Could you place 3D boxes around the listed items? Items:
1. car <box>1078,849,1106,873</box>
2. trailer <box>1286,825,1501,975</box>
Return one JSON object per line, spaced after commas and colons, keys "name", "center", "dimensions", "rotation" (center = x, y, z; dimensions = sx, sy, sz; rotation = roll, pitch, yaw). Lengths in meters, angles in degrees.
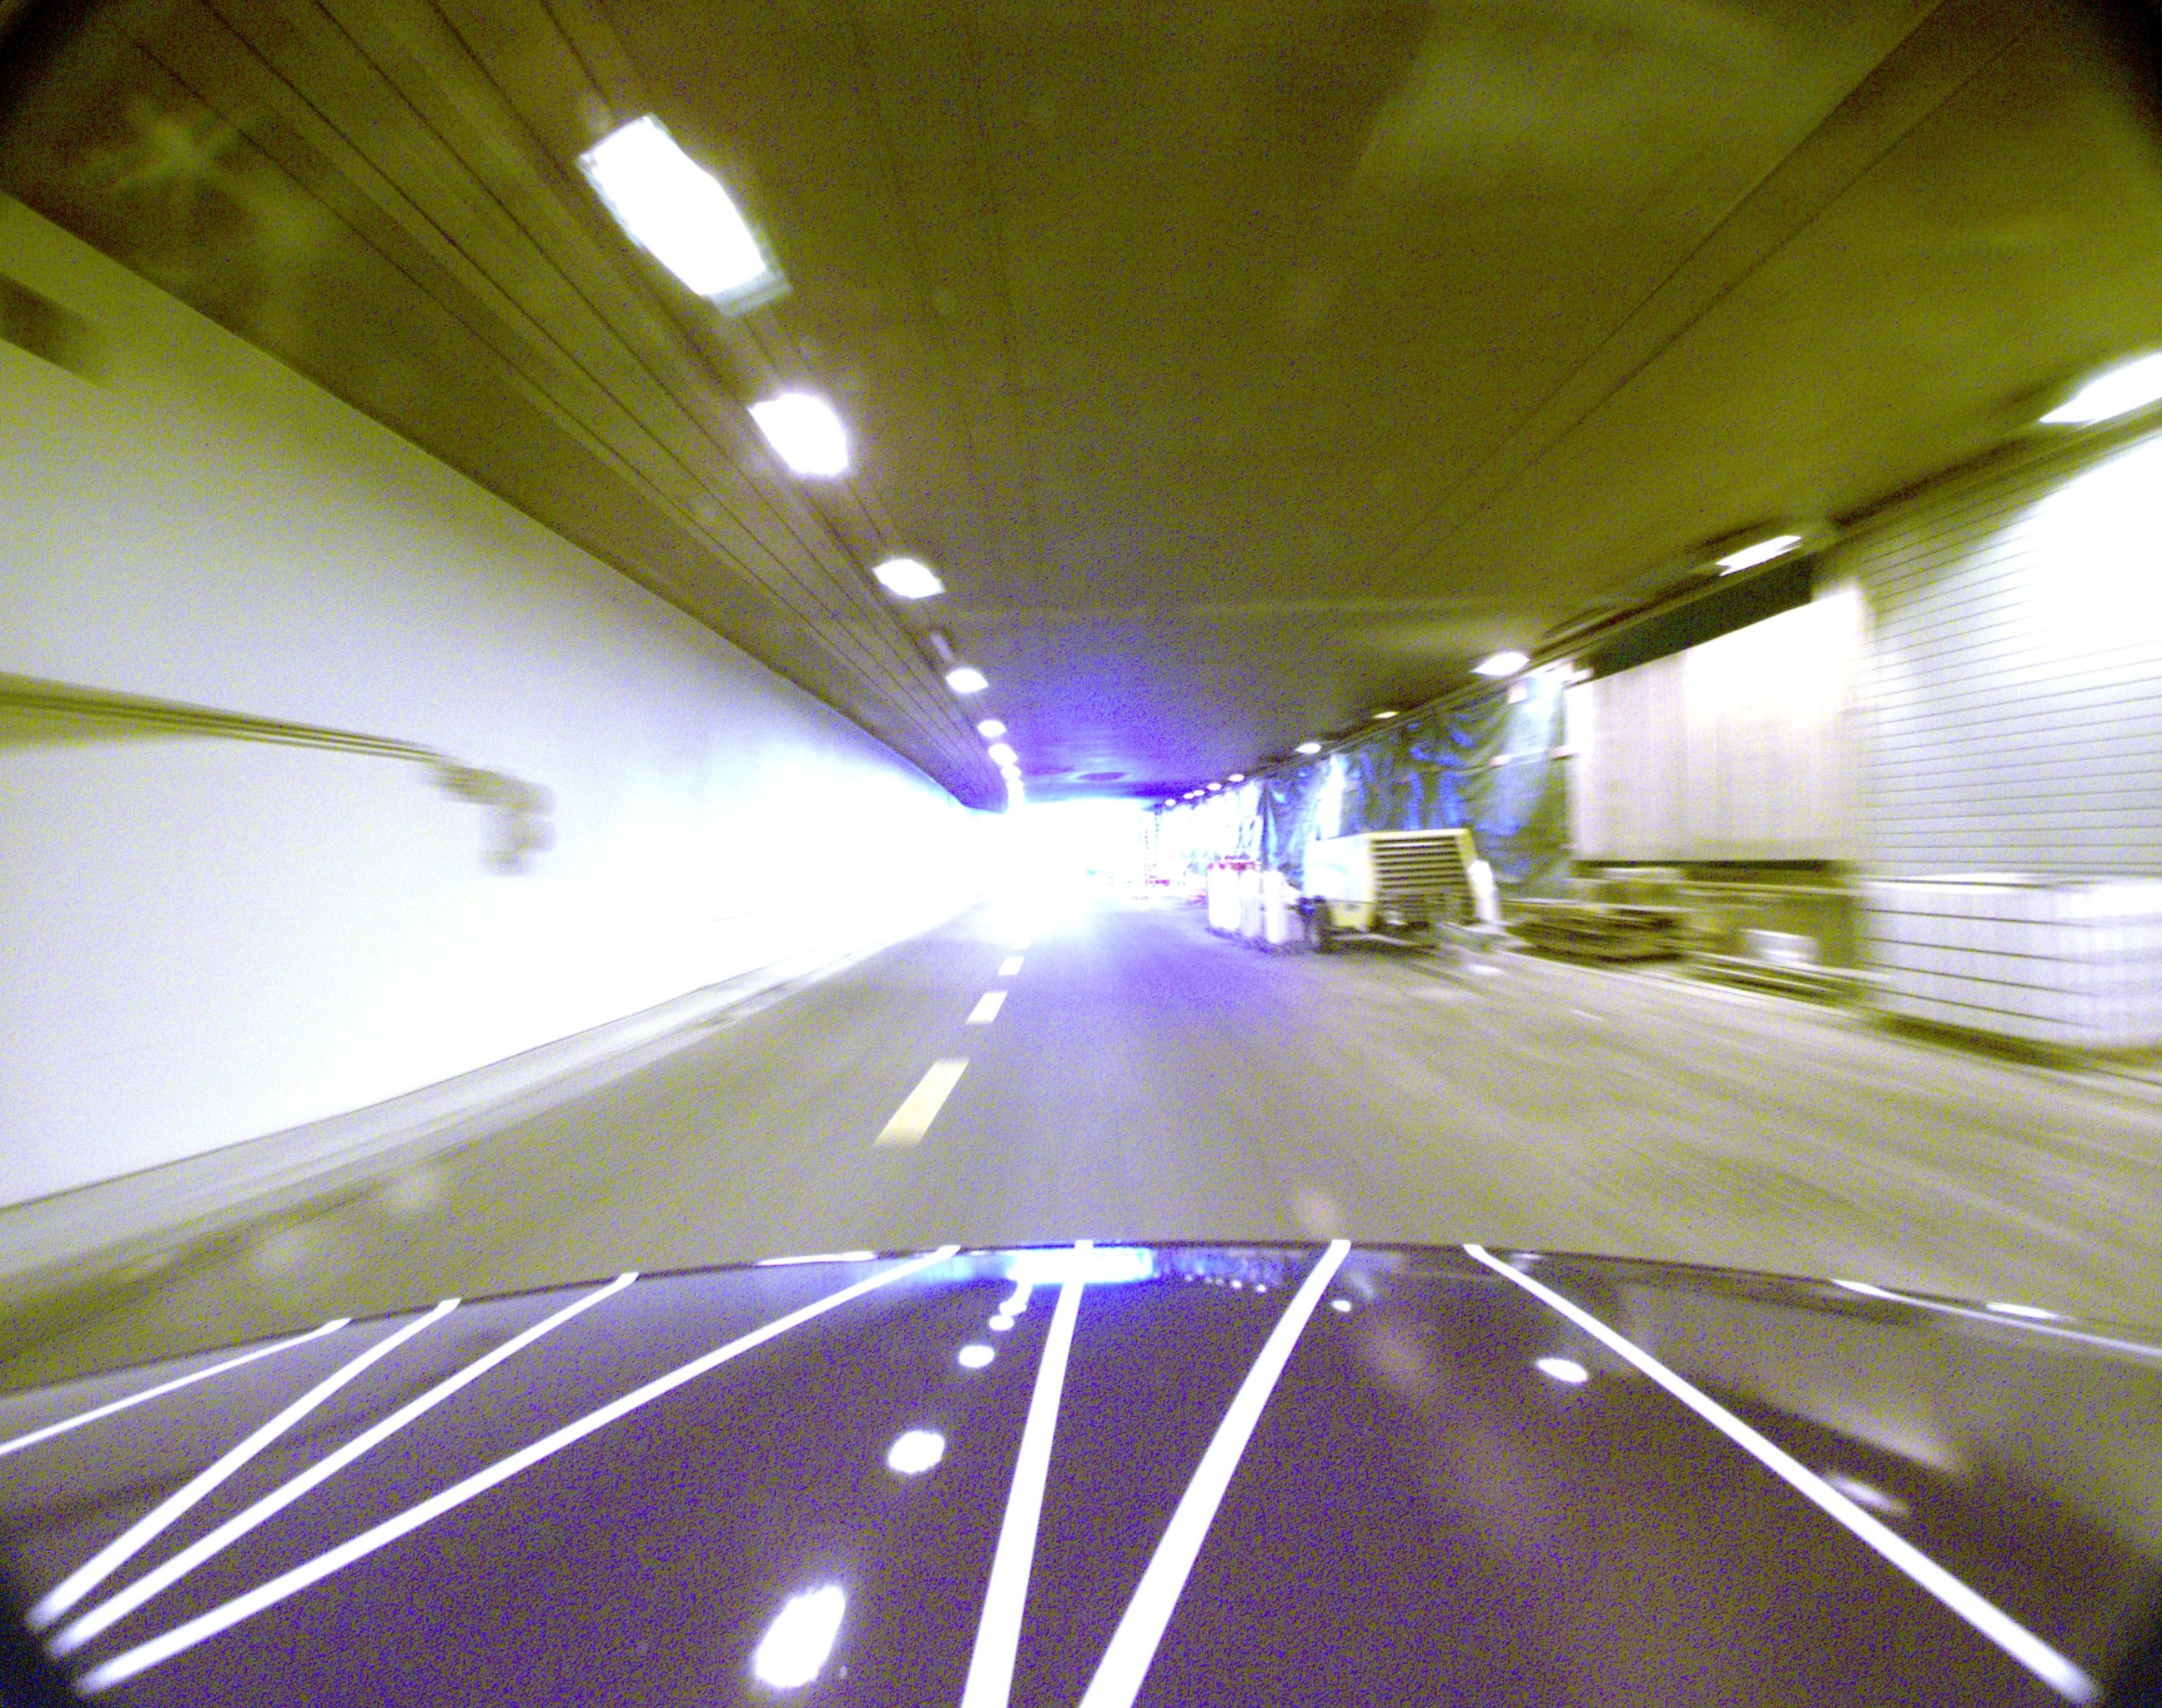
{"name": "car", "center": [0.844, 0.545, 61.075], "dimensions": [1.999, 1.743, 3.999], "rotation": [-2, 1, -1]}
{"name": "trailer", "center": [4.286, 0.550, 10.931], "dimensions": [1.644, 1.781, 3.121], "rotation": [-2, 1, -3]}
